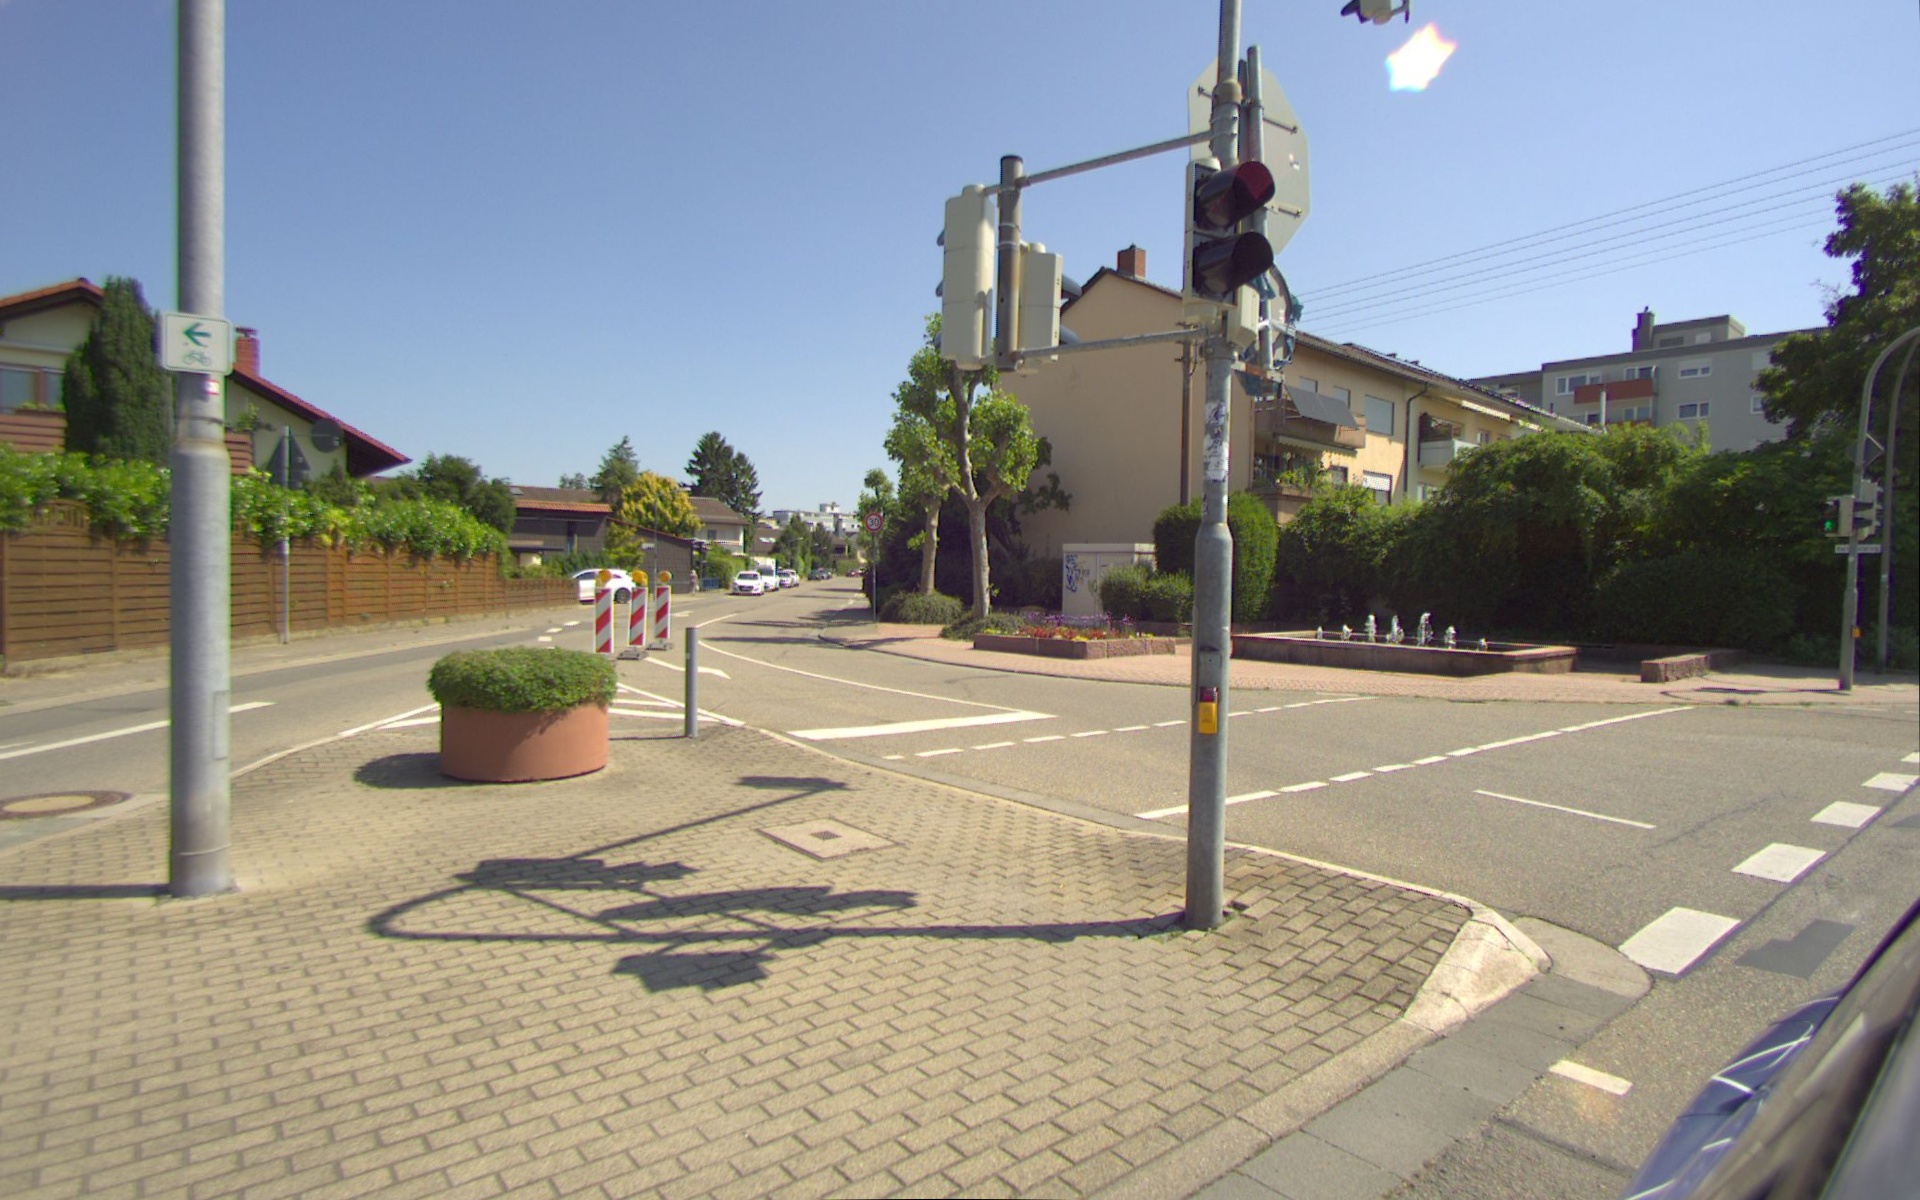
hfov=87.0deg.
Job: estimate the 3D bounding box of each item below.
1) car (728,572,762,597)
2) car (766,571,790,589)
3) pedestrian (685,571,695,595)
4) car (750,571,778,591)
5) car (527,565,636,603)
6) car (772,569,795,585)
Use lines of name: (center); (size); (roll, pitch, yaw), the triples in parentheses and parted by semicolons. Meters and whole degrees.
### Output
car: (-13.329, -0.973, 62.940); (1.958, 1.437, 4.008); (1, 2, -11)
car: (-15.648, -1.723, 87.039); (1.958, 1.437, 4.008); (1, 2, -11)
pedestrian: (-15.064, -0.955, 56.520); (0.531, 1.331, 0.432); (1, 1, -16)
car: (-14.349, -1.412, 74.204); (1.958, 1.437, 4.008); (1, 2, -11)
car: (-15.473, -0.664, 41.473); (3.913, 1.449, 1.423); (0, 2, -40)
car: (-16.365, -2.114, 93.605); (1.958, 1.437, 4.008); (1, 2, -11)
